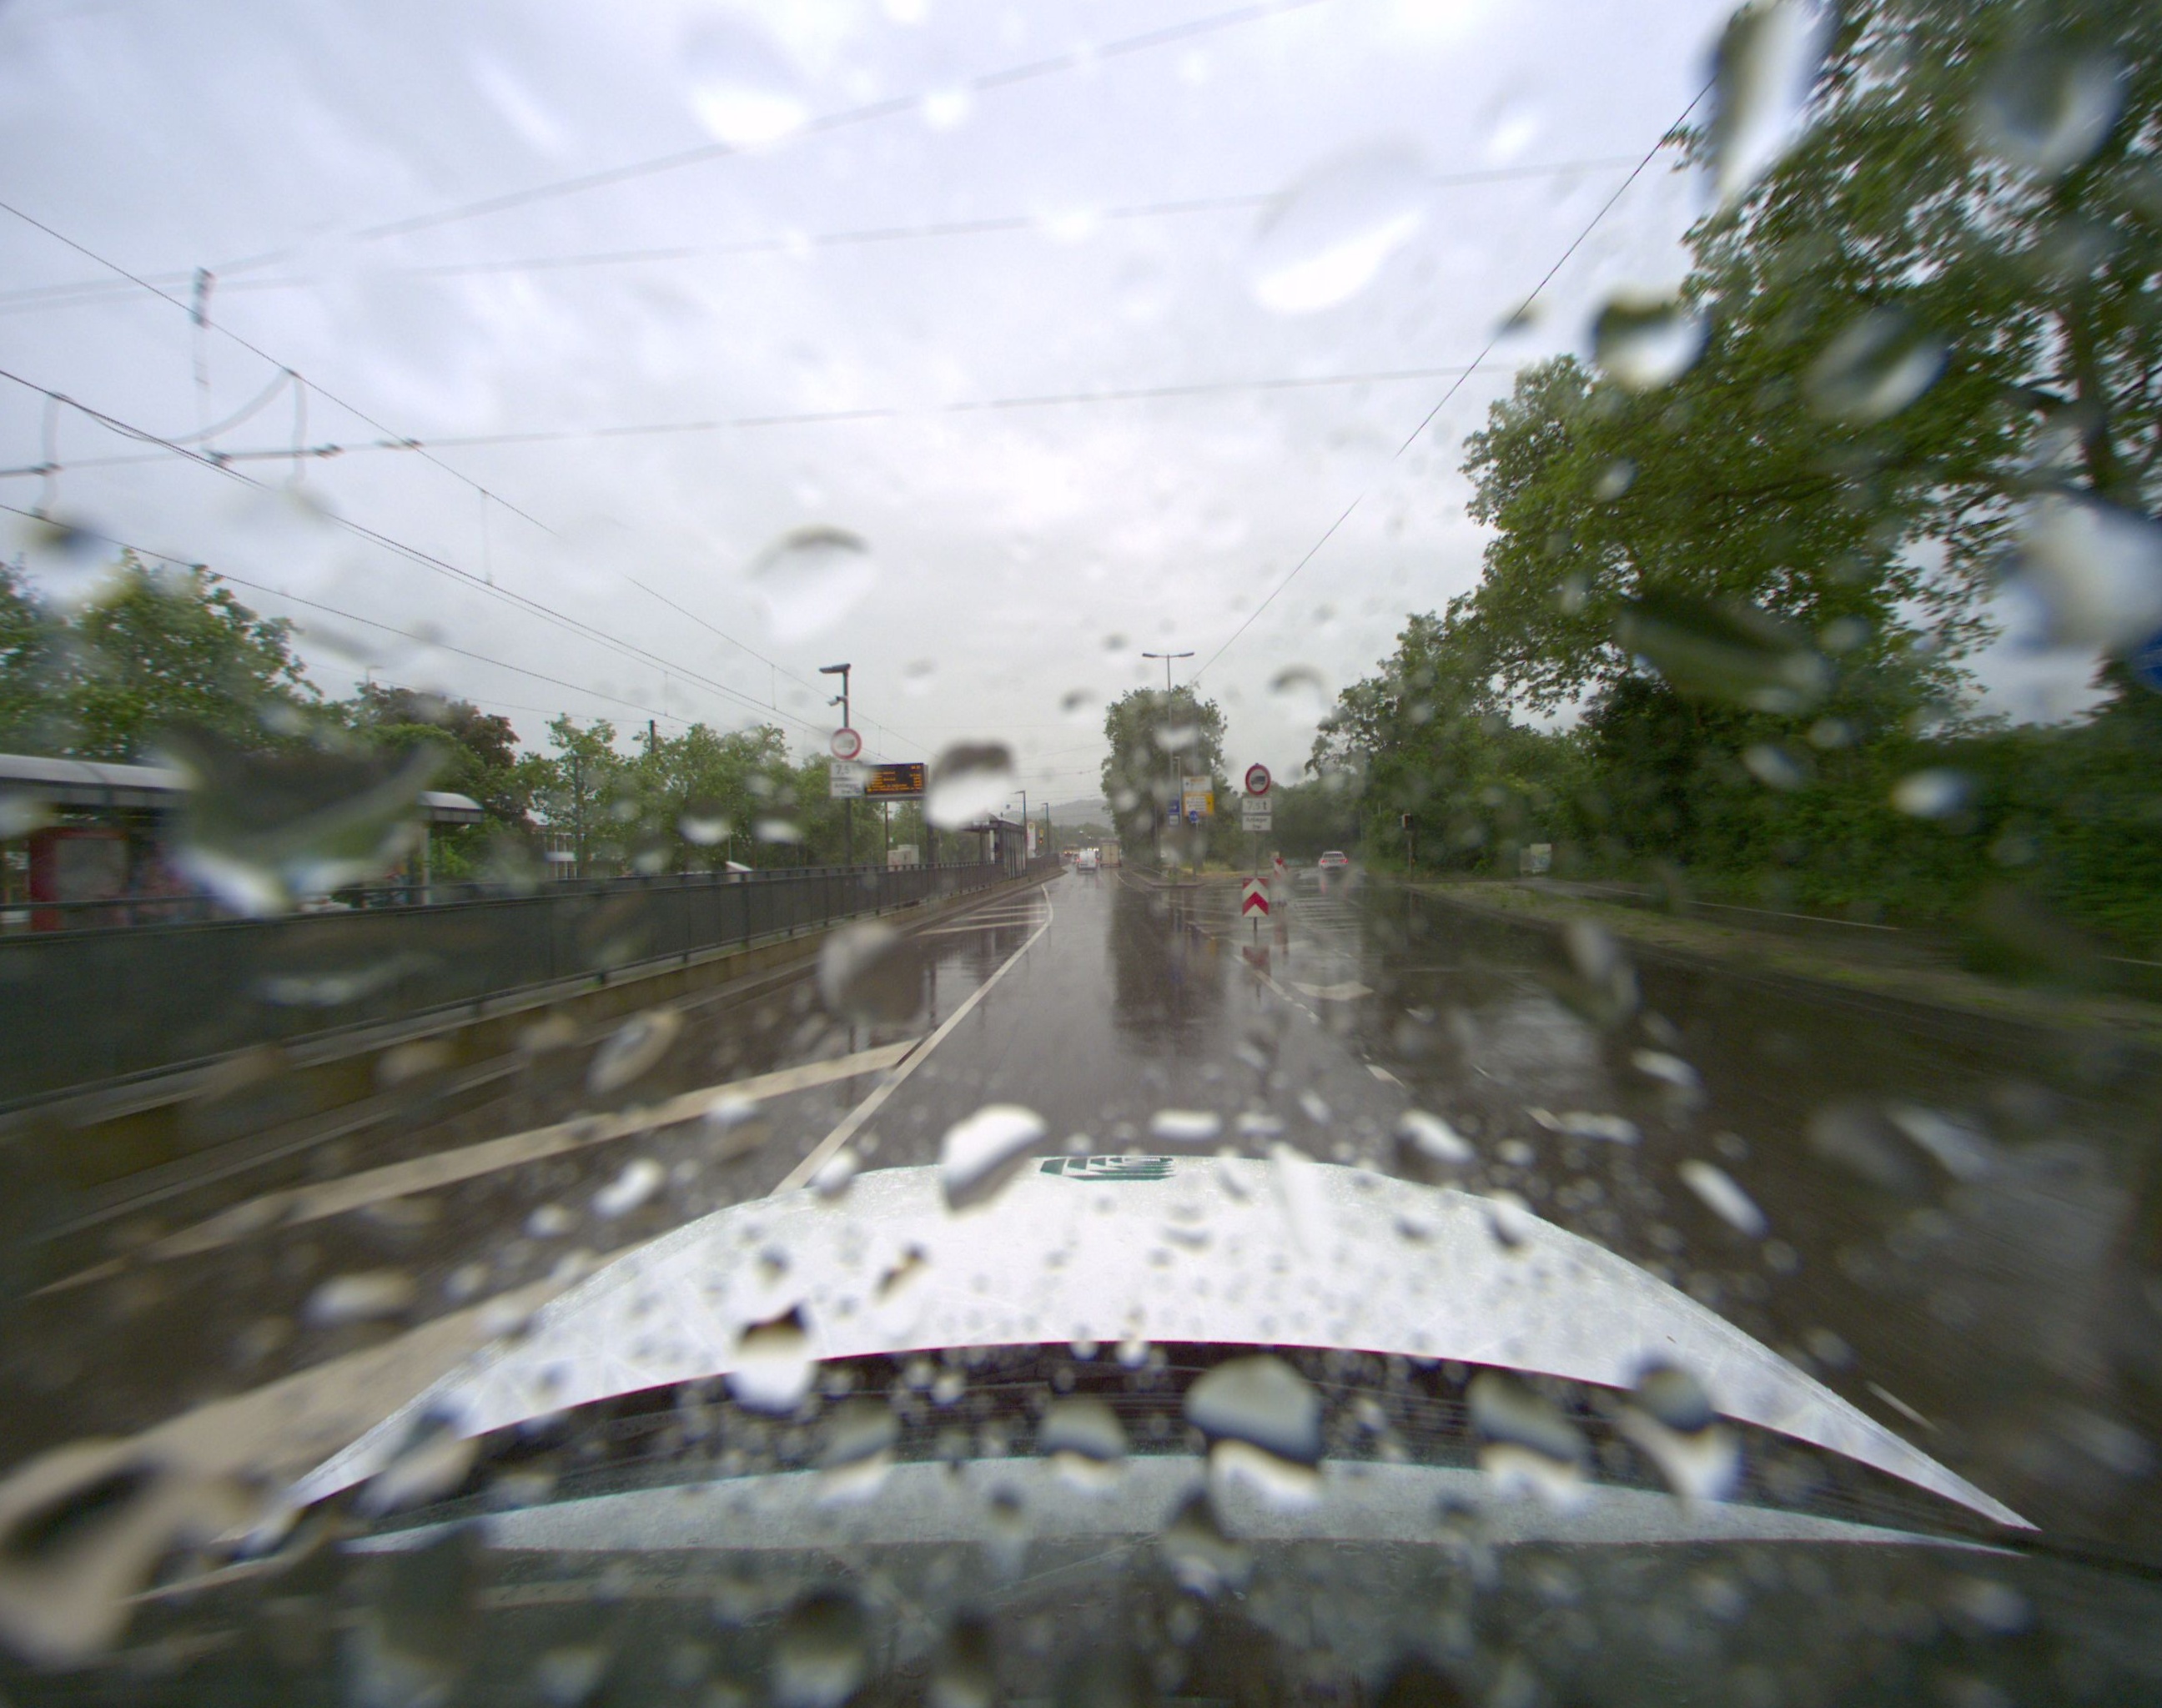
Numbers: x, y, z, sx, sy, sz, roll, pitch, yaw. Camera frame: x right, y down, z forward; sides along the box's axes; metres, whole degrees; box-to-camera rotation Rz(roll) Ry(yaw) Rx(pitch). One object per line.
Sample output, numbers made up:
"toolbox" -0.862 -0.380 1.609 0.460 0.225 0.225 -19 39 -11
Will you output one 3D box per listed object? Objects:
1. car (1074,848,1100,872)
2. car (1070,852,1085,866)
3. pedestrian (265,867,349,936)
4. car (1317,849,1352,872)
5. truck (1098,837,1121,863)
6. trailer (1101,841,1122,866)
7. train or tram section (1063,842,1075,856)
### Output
"car" 0.438 0.495 68.329 1.988 1.849 3.997 -1 0 -2
"car" -0.466 0.622 103.519 1.780 1.642 3.969 -1 -1 1
"pedestrian" -15.270 0.919 16.090 0.827 1.316 0.858 -1 0 2
"car" 16.557 0.414 53.313 1.875 1.431 4.015 -2 0 14
"truck" 4.201 -0.584 123.083 2.768 3.704 9.845 -1 -1 -2
"trailer" 3.493 -0.030 91.920 2.156 2.757 5.682 -1 -1 4
"train or tram section" -3.659 -1.421 248.351 2.796 4.149 13.025 -1 0 2
